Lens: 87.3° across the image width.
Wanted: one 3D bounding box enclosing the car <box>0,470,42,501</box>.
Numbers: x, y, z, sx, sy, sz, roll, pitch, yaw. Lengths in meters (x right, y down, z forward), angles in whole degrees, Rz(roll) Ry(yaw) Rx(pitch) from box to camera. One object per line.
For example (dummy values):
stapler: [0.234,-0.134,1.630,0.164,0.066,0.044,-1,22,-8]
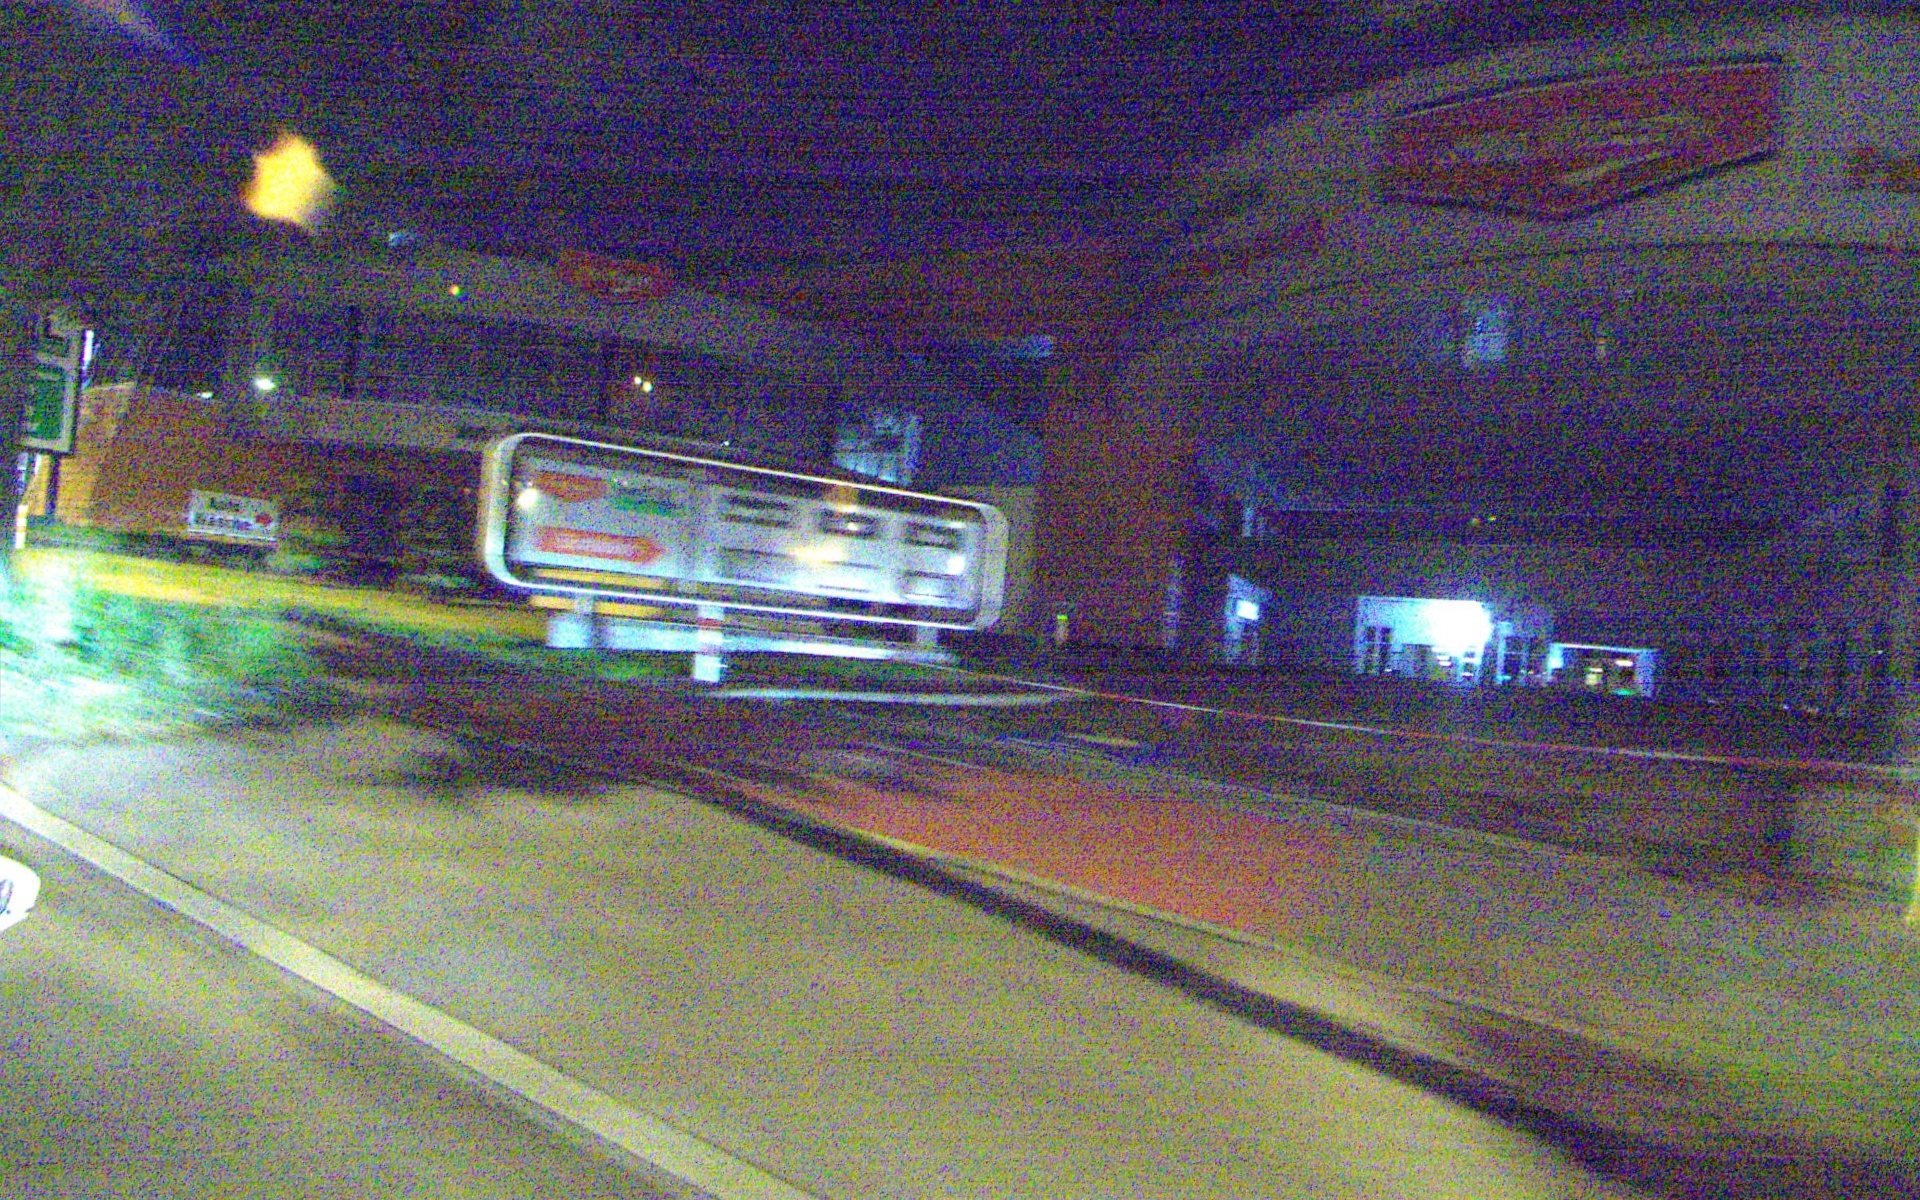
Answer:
car: [-56.249,-6.791,58.802,3.891,1.600,1.797,6,4,10]
